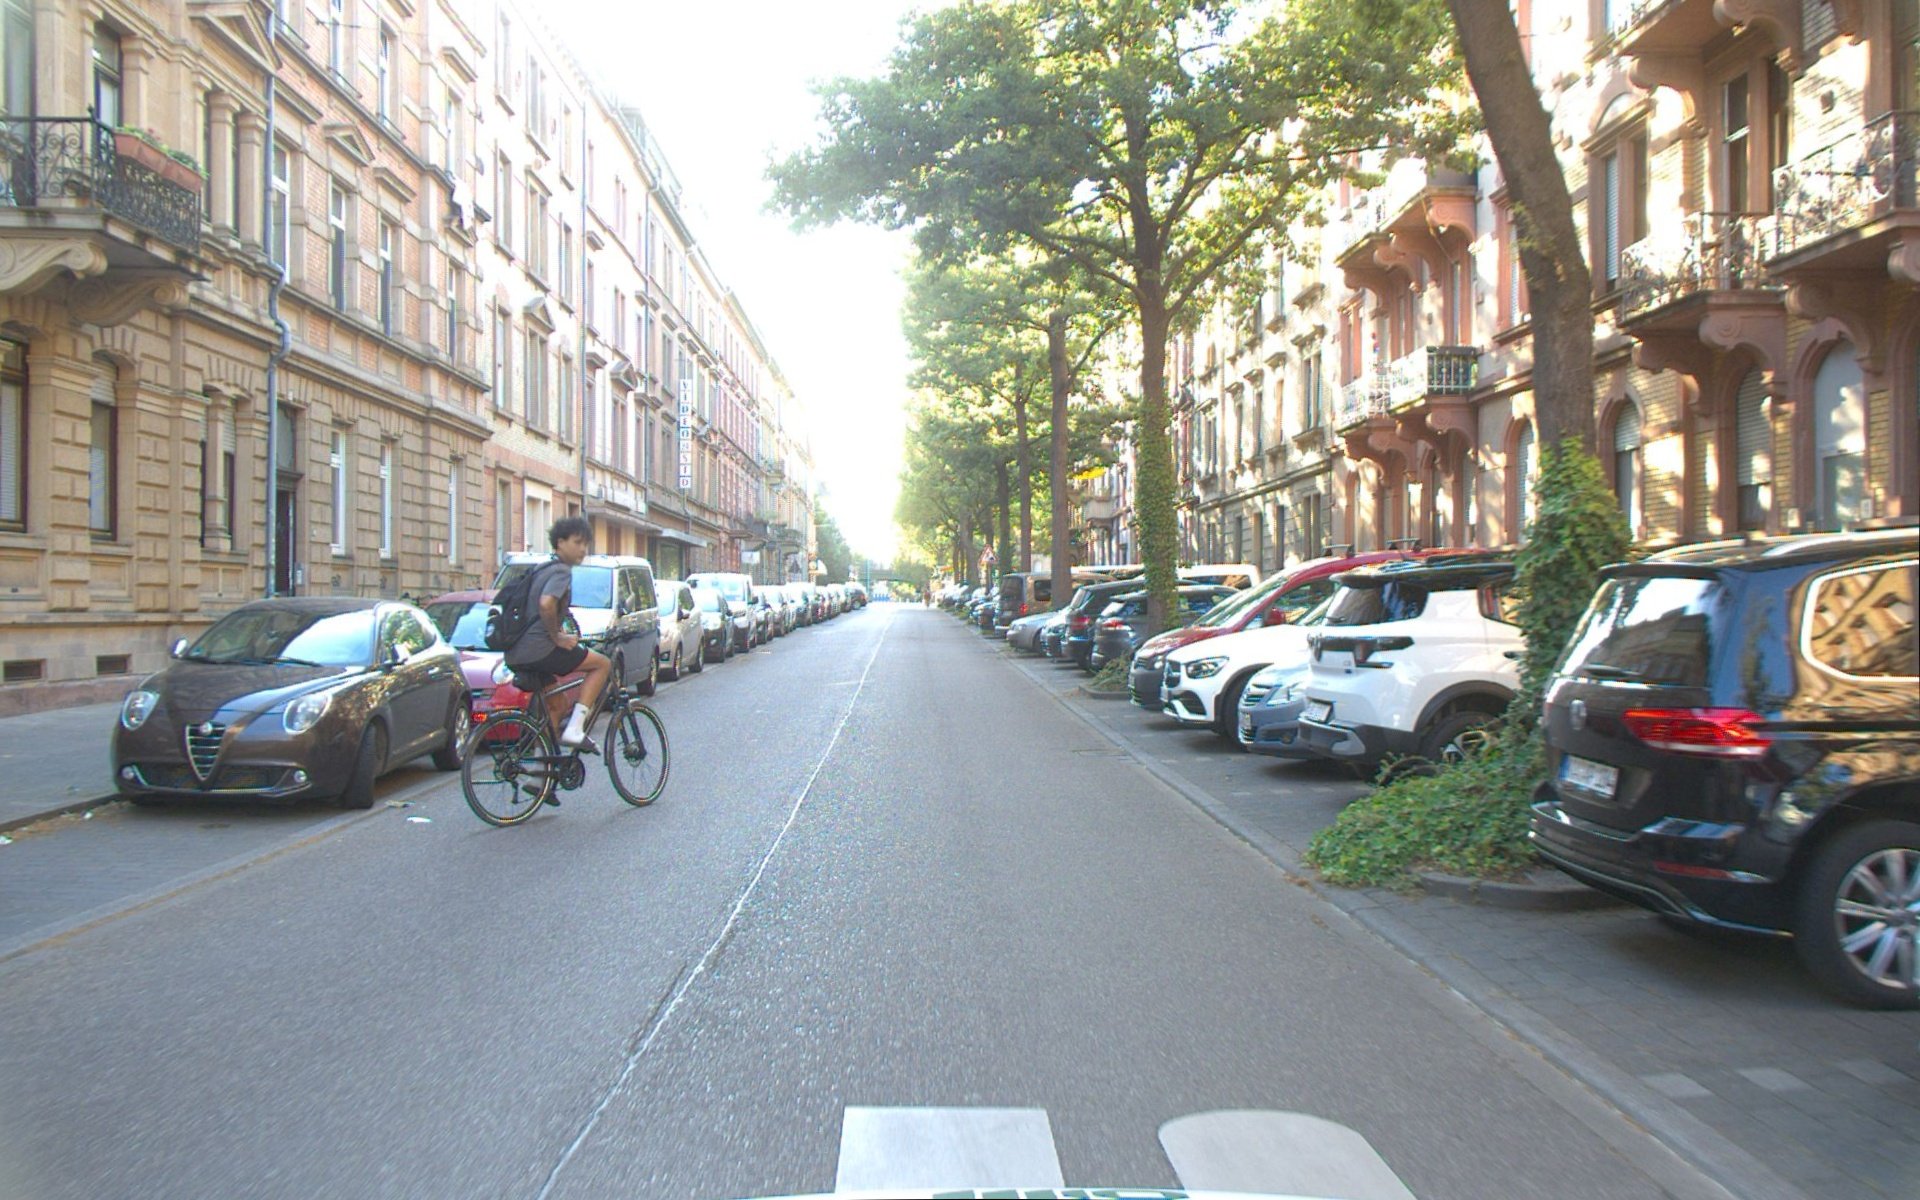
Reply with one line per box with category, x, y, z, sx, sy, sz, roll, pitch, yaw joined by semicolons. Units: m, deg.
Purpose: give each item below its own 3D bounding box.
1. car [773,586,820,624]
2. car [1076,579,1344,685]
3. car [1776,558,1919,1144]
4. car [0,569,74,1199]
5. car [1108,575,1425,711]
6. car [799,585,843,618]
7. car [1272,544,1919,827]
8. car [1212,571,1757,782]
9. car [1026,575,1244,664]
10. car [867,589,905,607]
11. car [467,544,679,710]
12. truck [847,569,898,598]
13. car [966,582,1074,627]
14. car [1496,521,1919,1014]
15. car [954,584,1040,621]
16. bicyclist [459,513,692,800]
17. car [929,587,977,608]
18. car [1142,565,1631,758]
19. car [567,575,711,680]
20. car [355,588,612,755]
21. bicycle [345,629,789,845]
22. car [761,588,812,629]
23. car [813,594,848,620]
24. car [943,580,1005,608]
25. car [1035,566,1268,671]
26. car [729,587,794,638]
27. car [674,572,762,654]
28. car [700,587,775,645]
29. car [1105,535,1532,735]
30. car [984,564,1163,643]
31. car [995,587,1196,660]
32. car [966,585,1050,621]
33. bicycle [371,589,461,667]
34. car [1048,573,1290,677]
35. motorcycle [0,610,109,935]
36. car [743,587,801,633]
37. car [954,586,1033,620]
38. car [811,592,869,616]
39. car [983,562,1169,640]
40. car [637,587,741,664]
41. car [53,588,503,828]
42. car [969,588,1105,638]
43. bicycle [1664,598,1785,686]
car;-6.625;0.178;67.221;1.723;1.498;4.057;0;0;-3
car;3.920;0.496;26.325;3.930;1.493;1.733;-2;0;-3
car;4.792;0.586;4.104;4.579;1.541;1.879;-2;0;0
car;-3.052;0.711;2.011;1.722;1.527;4.060;-1;0;0
car;3.883;0.508;21.279;3.590;1.480;1.847;-3;1;-8
car;-6.659;0.086;79.740;1.954;1.512;3.997;0;-2;-3
car;4.325;0.533;11.367;3.931;1.656;1.804;-2;0;-4
car;4.261;0.597;13.847;3.930;1.459;1.793;-3;0;-3
car;3.591;0.378;34.274;4.143;1.639;1.831;-2;0;-10
car;-8.006;-0.211;179.058;3.902;1.891;1.752;1;0;6
car;-5.189;0.322;22.895;1.795;1.977;5.258;2;0;-2
truck;-12.626;-2.366;239.106;7.173;4.019;2.403;2;0;-39
car;2.201;0.151;61.173;3.775;1.505;1.716;-2;0;-6
car;4.481;0.523;6.548;4.100;1.656;1.837;-2;0;1
car;1.742;0.117;78.456;3.780;1.601;1.714;-2;0;-10
bicyclist;-2.610;0.347;11.260;0.982;1.821;1.200;0;1;43
car;-0.545;-0.203;133.491;3.773;1.601;1.717;-2;0;-3
car;4.074;0.542;16.245;4.257;1.583;1.849;-3;1;-3
car;-5.496;0.433;28.812;1.718;1.636;4.382;2;0;-2
car;-4.831;0.660;17.280;1.560;1.501;3.699;2;0;0
bicycle;-2.581;0.845;11.279;0.981;1.178;2.905;0;1;43
car;-6.518;0.298;62.456;1.723;1.498;4.057;0;0;-3
car;-7.791;0.435;99.837;1.954;1.512;3.997;0;-2;-3
car;0.862;-0.382;103.225;3.773;1.601;1.717;-2;0;-3
car;3.602;0.327;31.569;4.137;1.807;1.834;-2;0;-3
car;-6.121;0.365;51.348;1.723;1.498;4.057;0;0;-3
car;-5.829;0.280;40.304;1.723;1.874;4.527;0;0;-3
car;-6.035;0.402;45.245;1.723;1.498;4.057;0;0;-3
car;3.995;0.351;18.851;4.357;1.957;1.848;-3;1;-5
car;2.896;0.079;42.264;4.162;1.826;1.823;-2;0;-22
car;2.968;0.487;36.627;4.140;1.428;1.832;-2;0;-7
car;2.332;0.141;80.884;3.780;1.601;1.714;-2;0;-10
bicycle;-9.454;0.450;28.860;0.725;1.277;2.825;1;0;-3
car;3.603;0.426;28.919;3.930;1.635;1.733;-2;0;-3
motorcycle;-4.651;0.749;6.839;1.045;1.394;2.604;1;0;-4
car;-6.323;0.301;55.976;1.723;1.498;4.057;0;0;-3
car;1.722;0.130;85.508;3.780;1.601;1.714;-2;0;-10
car;-7.983;0.300;110.379;1.956;1.512;3.992;-1;-2;30
car;3.183;0.008;46.013;4.955;1.959;1.834;-2;0;-2
car;-5.700;0.494;35.237;1.723;1.492;3.997;2;0;-3
car;-4.945;0.686;12.667;1.722;1.527;4.060;-1;0;0
car;2.241;0.360;48.838;3.775;1.316;1.716;-2;0;-6
bicycle;9.392;0.494;20.395;0.542;1.018;1.893;-2;0;-1
